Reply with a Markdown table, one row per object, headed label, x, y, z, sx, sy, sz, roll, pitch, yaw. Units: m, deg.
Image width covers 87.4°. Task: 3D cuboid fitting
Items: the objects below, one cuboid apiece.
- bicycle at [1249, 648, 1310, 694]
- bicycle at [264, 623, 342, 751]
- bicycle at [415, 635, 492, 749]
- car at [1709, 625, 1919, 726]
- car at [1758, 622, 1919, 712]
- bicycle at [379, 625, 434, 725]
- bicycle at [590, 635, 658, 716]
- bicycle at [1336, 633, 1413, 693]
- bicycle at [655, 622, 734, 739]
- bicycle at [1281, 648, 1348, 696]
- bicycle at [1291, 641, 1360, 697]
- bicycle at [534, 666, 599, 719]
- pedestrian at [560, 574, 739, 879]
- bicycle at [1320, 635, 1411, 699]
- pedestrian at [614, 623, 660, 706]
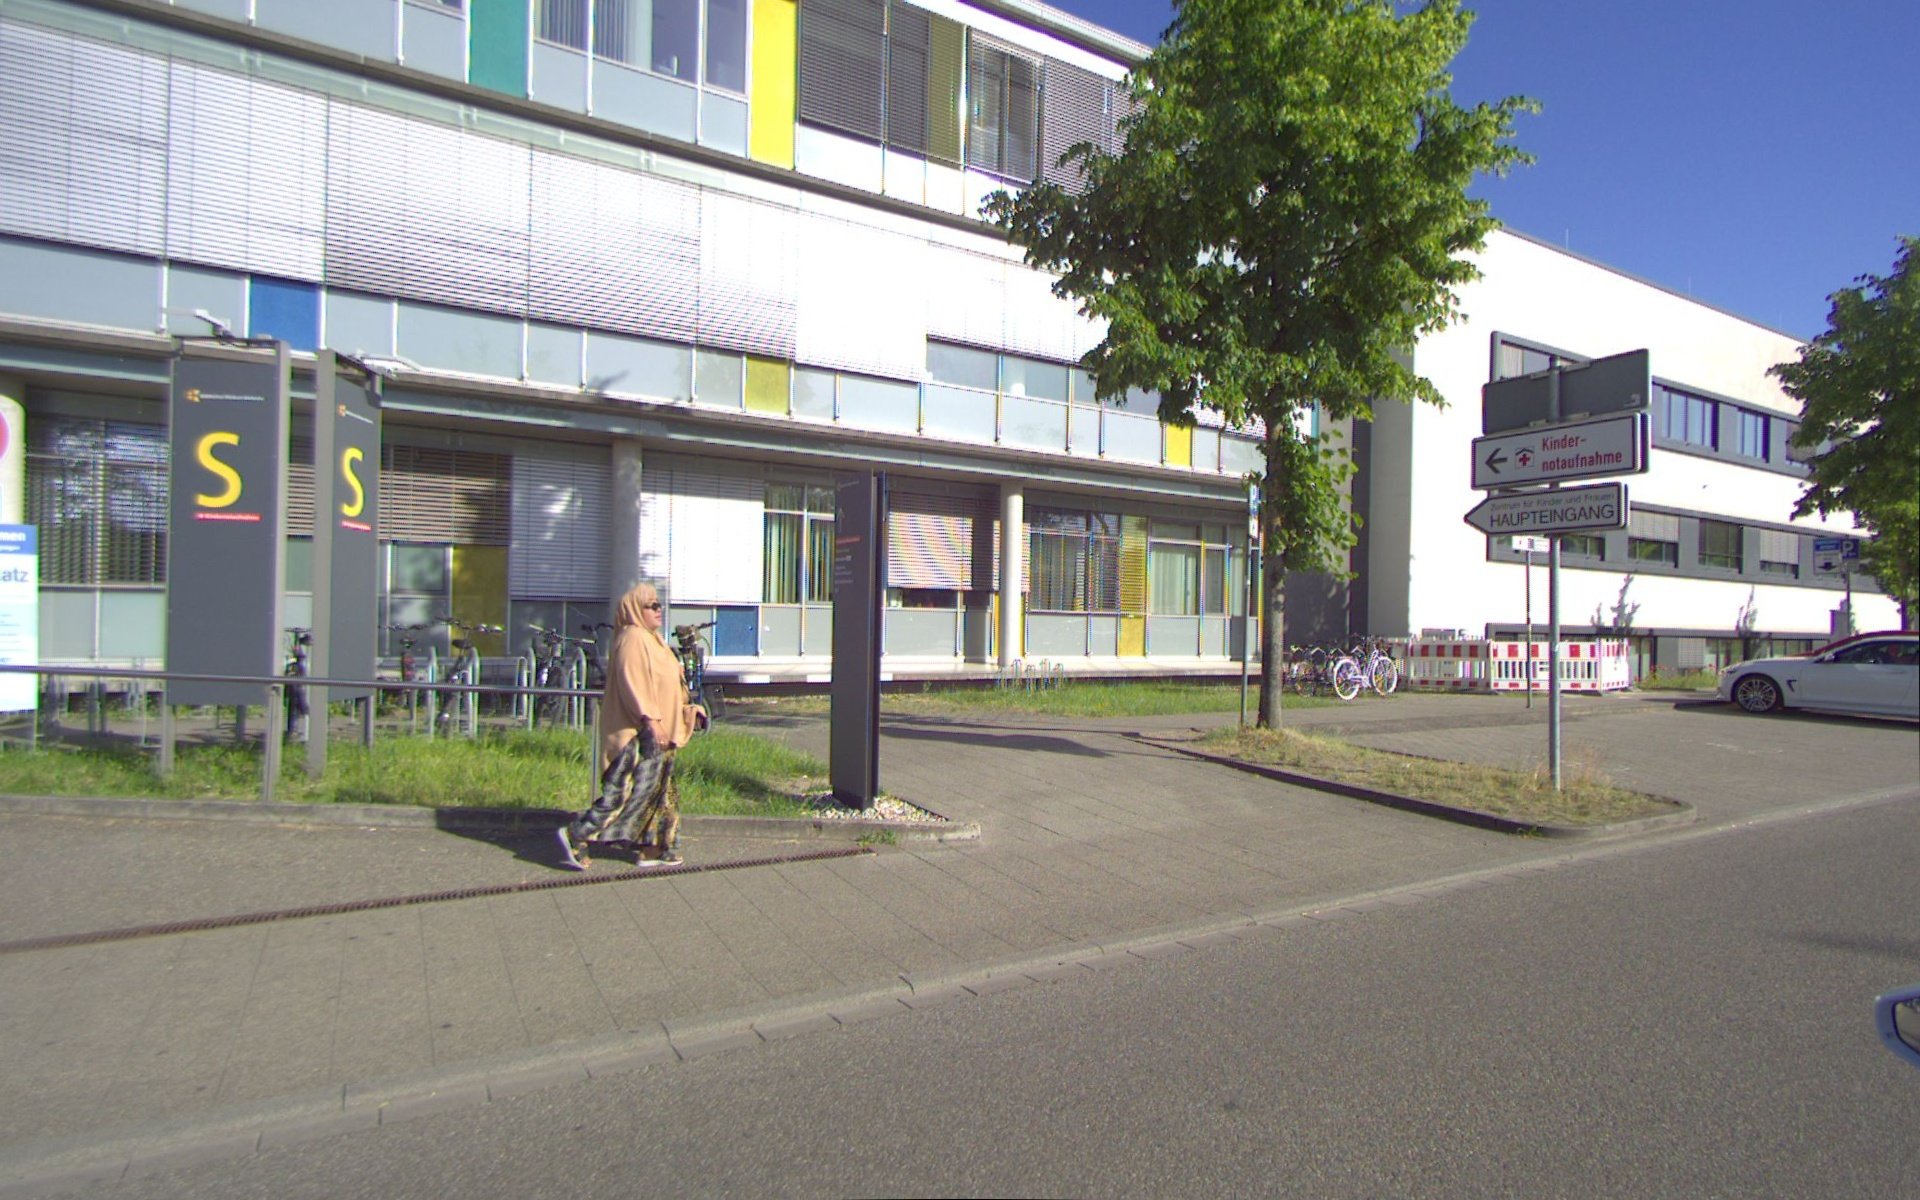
| label | x | y | z | sx | sy | sz | roll | pitch | yaw |
| --- | --- | --- | --- | --- | --- | --- | --- | --- | --- |
| bicycle | 6.432 | 1.415 | 20.200 | 1.433 | 0.884 | 0.253 | 1 | -1 | -30 |
| bicycle | -6.088 | 0.757 | 9.358 | 0.530 | 1.069 | 1.706 | 1 | -1 | -31 |
| bicycle | -5.011 | 0.854 | 9.888 | 0.530 | 0.986 | 1.706 | 1 | -1 | -31 |
| car | 15.190 | 1.242 | 16.347 | 1.683 | 1.386 | 4.482 | 1 | 2 | -35 |
| car | 17.217 | 1.227 | 18.512 | 1.598 | 1.489 | 3.611 | 1 | 1 | -35 |
| bicycle | -6.923 | 0.894 | 12.531 | 0.530 | 1.138 | 1.706 | 1 | -1 | -31 |
| bicycle | -4.629 | 1.001 | 13.775 | 0.530 | 1.007 | 1.706 | 1 | -1 | -31 |
| bicycle | 8.131 | 1.223 | 19.666 | 1.742 | 1.138 | 0.418 | 1 | -1 | -30 |
| bicycle | -2.868 | 0.808 | 10.751 | 0.529 | 1.136 | 1.698 | 1 | -1 | -24 |
| bicycle | 6.817 | 1.367 | 19.280 | 1.433 | 0.874 | 0.367 | 1 | -1 | -30 |
| bicycle | 6.814 | 1.276 | 18.707 | 1.433 | 1.002 | 0.393 | 1 | -1 | -30 |
| bicycle | -5.251 | 1.207 | 13.350 | 0.530 | 0.559 | 1.706 | 1 | -1 | -31 |
| pedestrian | -1.771 | 0.655 | 5.691 | 0.771 | 1.570 | 0.769 | 2 | 1 | -30 |
| bicycle | 7.476 | 1.217 | 18.488 | 1.838 | 1.126 | 0.532 | 1 | -1 | -29 |
| pedestrian | -4.835 | 0.953 | 15.037 | 0.549 | 1.188 | 0.529 | 1 | 0 | -29 |
